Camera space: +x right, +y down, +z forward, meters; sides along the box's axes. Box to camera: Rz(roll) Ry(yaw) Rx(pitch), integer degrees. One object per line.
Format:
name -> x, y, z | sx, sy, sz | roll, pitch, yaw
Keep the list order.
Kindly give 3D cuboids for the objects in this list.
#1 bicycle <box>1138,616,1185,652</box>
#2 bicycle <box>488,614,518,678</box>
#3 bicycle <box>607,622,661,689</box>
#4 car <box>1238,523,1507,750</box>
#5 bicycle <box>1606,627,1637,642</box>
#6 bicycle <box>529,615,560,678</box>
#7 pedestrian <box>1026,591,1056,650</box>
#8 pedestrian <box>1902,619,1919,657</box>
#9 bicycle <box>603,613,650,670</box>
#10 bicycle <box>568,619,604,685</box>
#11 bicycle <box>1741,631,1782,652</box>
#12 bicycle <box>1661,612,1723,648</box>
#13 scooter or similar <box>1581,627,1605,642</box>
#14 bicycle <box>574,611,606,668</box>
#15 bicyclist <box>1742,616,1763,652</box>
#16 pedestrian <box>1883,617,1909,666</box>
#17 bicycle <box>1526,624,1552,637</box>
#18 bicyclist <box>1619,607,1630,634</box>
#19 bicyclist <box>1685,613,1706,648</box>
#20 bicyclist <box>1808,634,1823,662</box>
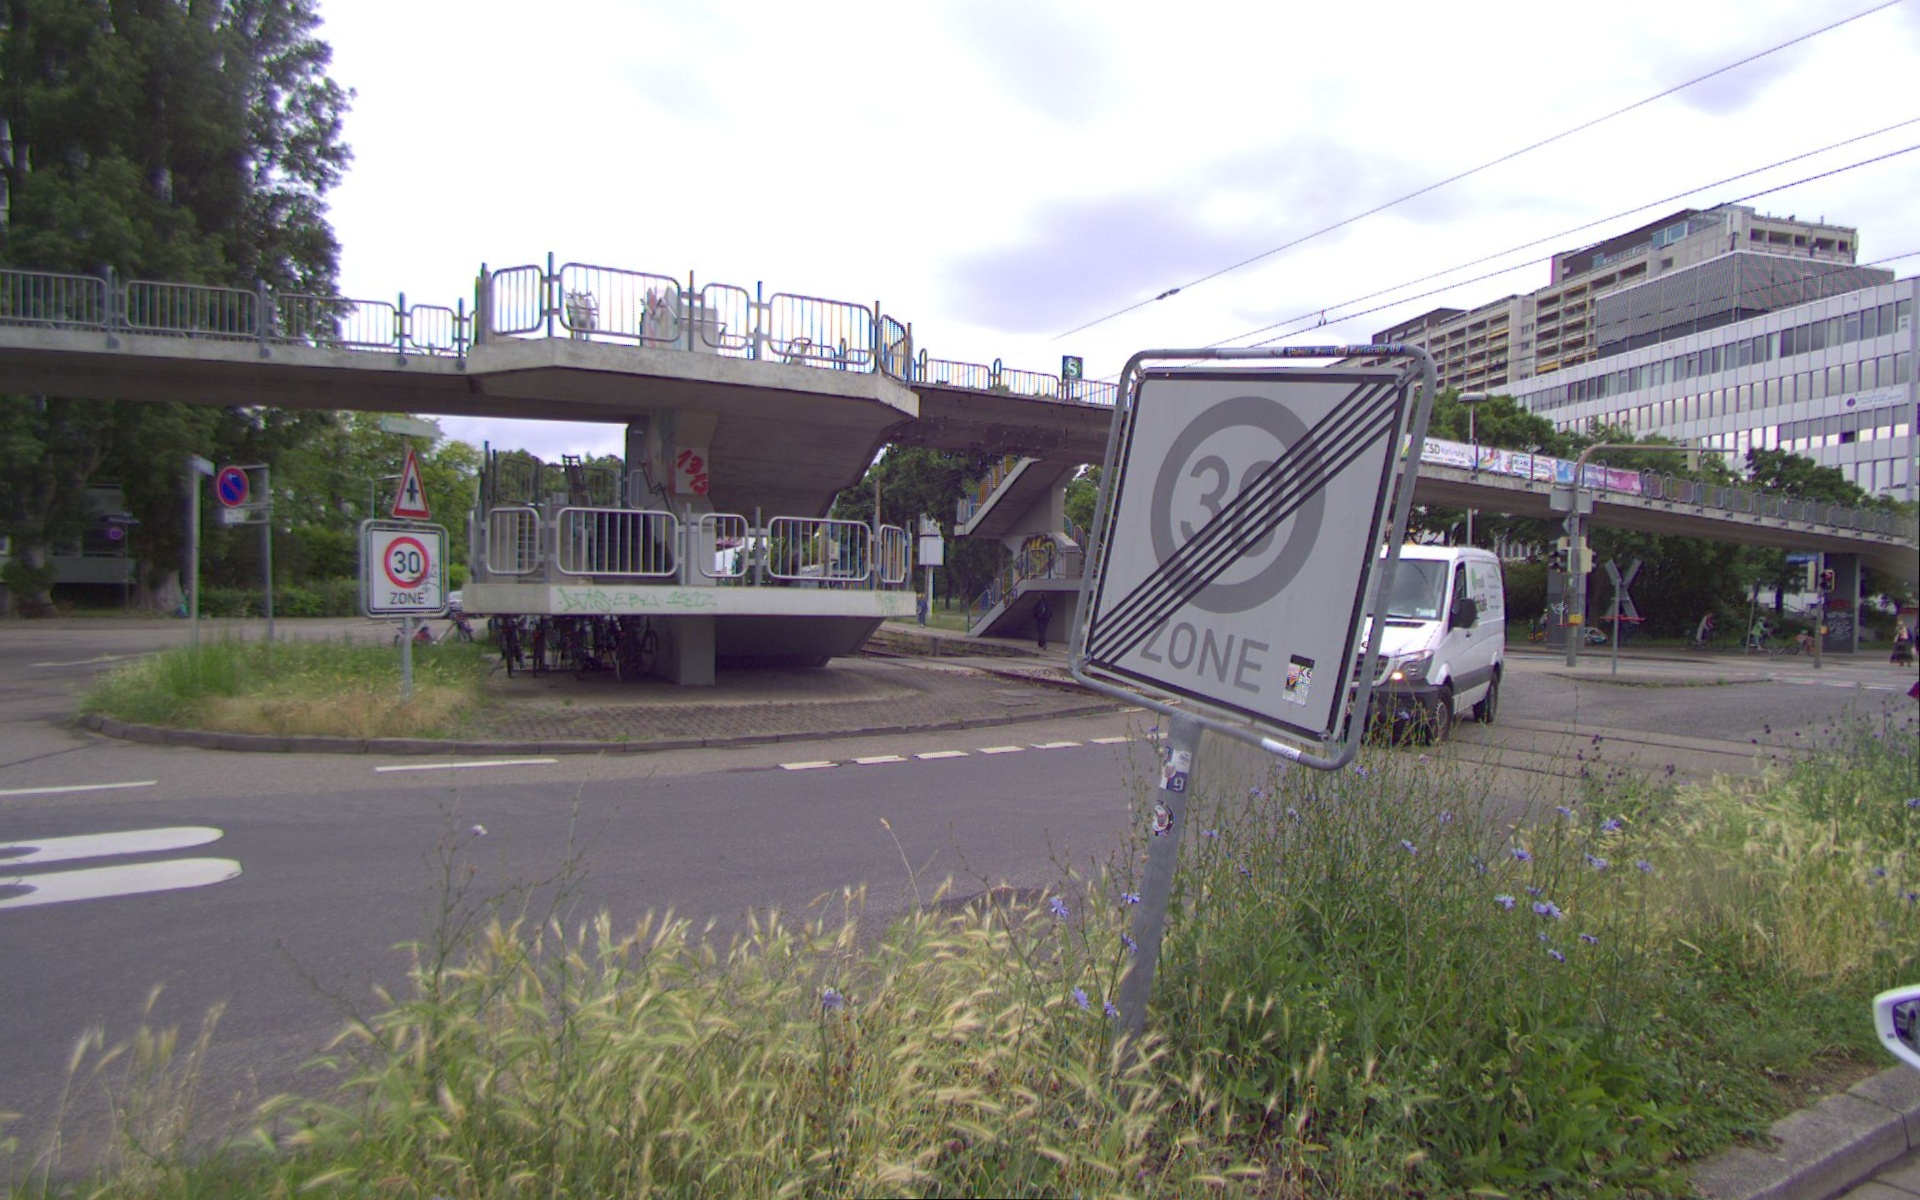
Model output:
bicycle -> 5.731, 0.959, 28.651 | 0.368, 0.934, 2.029 | 1, 0, -18
bicycle -> -6.991, 0.675, 15.383 | 0.389, 0.897, 1.632 | 1, 0, -24
bicycle -> -4.853, 0.796, 15.011 | 0.387, 0.897, 1.741 | 1, 0, -6
car -> 5.547, 0.455, 13.021 | 2.106, 2.322, 5.191 | 0, -2, 35
bicycle -> 33.302, 1.739, 50.576 | 1.273, 0.701, 0.290 | 1, 1, 25
bicycle -> -6.486, 0.705, 15.651 | 0.389, 0.897, 1.632 | 1, 0, -24
pedestrian -> 2.327, 0.595, 28.777 | 0.593, 1.664, 0.659 | 1, 1, -25
pedestrian -> 41.298, 1.643, 43.590 | 0.572, 1.600, 0.777 | 2, 0, 42
bicycle -> -5.689, 0.686, 17.086 | 0.390, 0.897, 1.628 | 1, 0, -32
bicycle -> -5.662, 0.760, 15.182 | 0.389, 0.897, 1.632 | 1, 0, -24
bicycle -> 36.988, 1.892, 46.348 | 2.493, 0.938, 0.628 | 1, 1, -31
bicycle -> 35.227, 1.439, 48.356 | 0.524, 1.647, 2.334 | 1, 0, -44
scooter or similar -> 32.194, 1.746, 51.093 | 0.978, 0.724, 0.406 | 1, 0, 26
bicycle -> -6.339, 0.659, 17.187 | 0.389, 0.897, 1.632 | 1, 0, -24
bicyclist -> 36.819, 1.570, 46.675 | 0.525, 1.666, 0.562 | 2, 0, -29
pedestrian -> 33.333, 1.464, 35.768 | 0.402, 1.714, 0.612 | 1, 1, -43
bicycle -> 30.755, 1.624, 53.375 | 0.263, 0.677, 1.138 | 1, -3, -37
bicyclist -> 33.428, 1.030, 50.504 | 0.376, 1.321, 0.278 | 1, 1, 24
bicyclist -> 35.346, 1.442, 48.272 | 0.524, 1.647, 0.740 | 1, 0, -45
bicyclist -> 38.342, 2.142, 45.010 | 0.372, 1.197, 0.403 | 0, 1, -28
